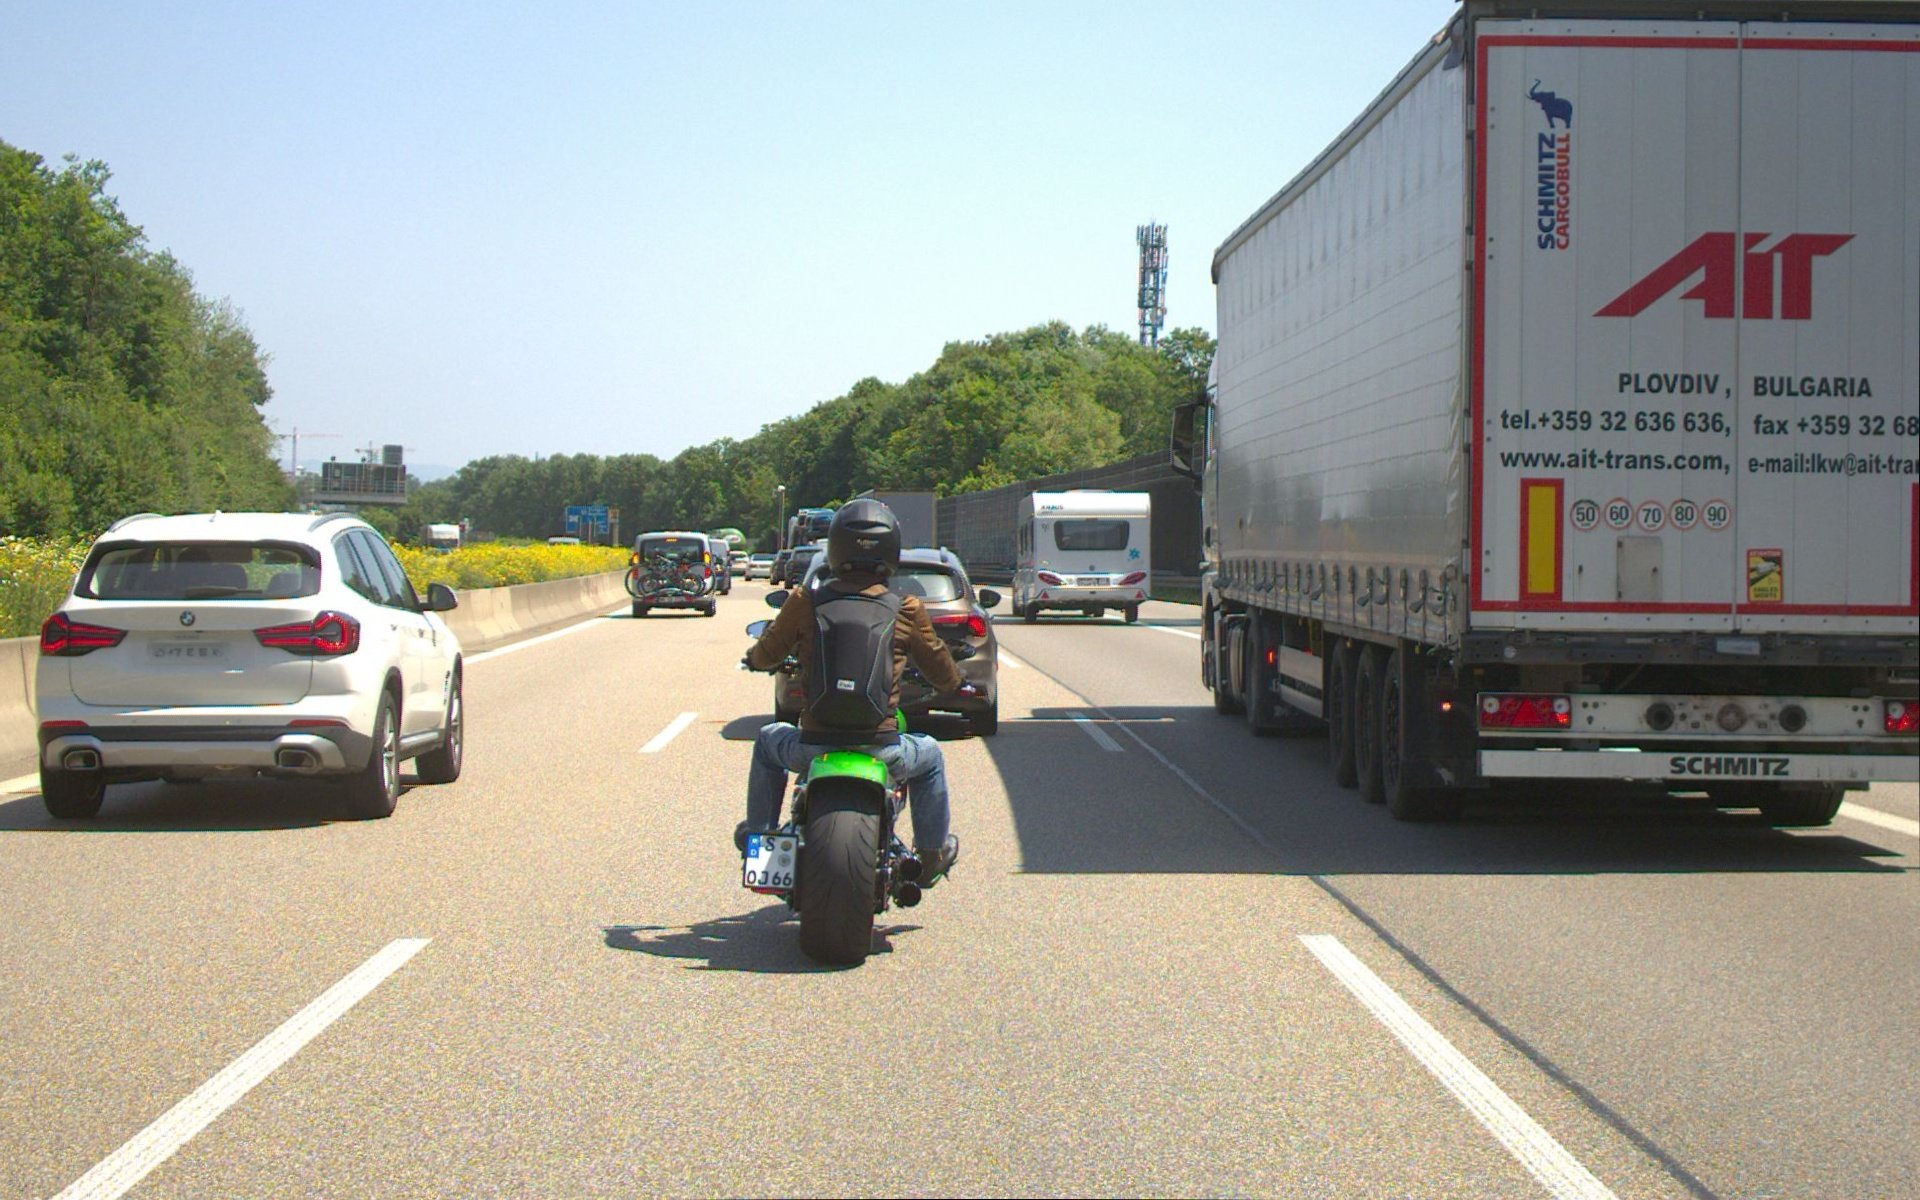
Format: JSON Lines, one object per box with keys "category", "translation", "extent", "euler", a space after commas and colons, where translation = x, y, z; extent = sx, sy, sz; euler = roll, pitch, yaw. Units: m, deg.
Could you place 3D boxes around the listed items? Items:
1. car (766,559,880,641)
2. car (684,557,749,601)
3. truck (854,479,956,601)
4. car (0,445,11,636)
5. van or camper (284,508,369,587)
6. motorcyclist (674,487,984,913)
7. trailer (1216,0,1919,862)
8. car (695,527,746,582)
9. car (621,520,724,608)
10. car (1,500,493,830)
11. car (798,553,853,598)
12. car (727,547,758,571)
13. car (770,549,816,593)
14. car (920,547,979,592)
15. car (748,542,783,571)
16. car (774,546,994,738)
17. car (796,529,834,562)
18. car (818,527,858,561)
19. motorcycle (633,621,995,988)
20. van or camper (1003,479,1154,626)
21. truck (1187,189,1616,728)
{"category": "car", "translation": [-2.442, 0.010, 62.042], "extent": [1.993, 1.425, 3.847], "euler": [0, 0, -1]}
{"category": "car", "translation": [-7.791, -0.659, 110.242], "extent": [1.993, 1.382, 4.000], "euler": [0, 0, -3]}
{"category": "truck", "translation": [-2.379, -2.449, 144.421], "extent": [3.802, 4.943, 8.952], "euler": [0, 0, -4]}
{"category": "car", "translation": [-15.474, -0.851, 48.838], "extent": [2.068, 2.886, 7.463], "euler": [0, 1, -1]}
{"category": "van or camper", "translation": [-22.323, -1.863, 121.342], "extent": [2.085, 2.692, 6.153], "euler": [0, 1, -2]}
{"category": "motorcyclist", "translation": [-0.450, 0.346, 12.848], "extent": [0.900, 1.470, 1.871], "euler": [0, 0, 6]}
{"category": "trailer", "translation": [3.612, -0.935, 22.476], "extent": [2.886, 4.025, 13.795], "euler": [0, 1, 0]}
{"category": "car", "translation": [-8.998, -1.684, 129.420], "extent": [1.791, 2.007, 3.642], "euler": [0, 0, -2]}
{"category": "car", "translation": [-6.224, -0.754, 74.732], "extent": [1.899, 1.867, 4.412], "euler": [0, 0, 0]}
{"category": "car", "translation": [-4.007, 0.302, 20.173], "extent": [1.864, 1.688, 4.956], "euler": [0, 1, 0]}
{"category": "car", "translation": [-5.119, -0.922, 130.560], "extent": [1.993, 1.634, 4.000], "euler": [0, 0, -4]}
{"category": "car", "translation": [-13.938, -2.616, 220.095], "extent": [1.832, 1.491, 3.744], "euler": [0, 0, -5]}
{"category": "car", "translation": [-7.829, -1.341, 161.174], "extent": [1.911, 2.007, 3.691], "euler": [0, 0, -6]}
{"category": "car", "translation": [-0.405, -1.098, 125.134], "extent": [1.993, 1.568, 4.000], "euler": [0, 0, -2]}
{"category": "car", "translation": [-10.452, -2.309, 184.344], "extent": [1.832, 1.491, 3.744], "euler": [0, 0, -3]}
{"category": "car", "translation": [-0.588, 0.326, 28.019], "extent": [1.662, 1.448, 3.869], "euler": [0, 0, 0]}
{"category": "car", "translation": [-8.453, -3.149, 199.561], "extent": [2.107, 1.870, 4.000], "euler": [0, 0, -4]}
{"category": "car", "translation": [-6.880, -3.155, 194.037], "extent": [2.107, 1.870, 4.000], "euler": [0, 0, -4]}
{"category": "motorcycle", "translation": [-0.476, 0.692, 12.911], "extent": [0.965, 1.144, 2.811], "euler": [1, 1, 6]}
{"category": "van or camper", "translation": [2.313, -0.900, 69.276], "extent": [2.685, 2.803, 6.803], "euler": [0, 0, -1]}
{"category": "truck", "translation": [3.595, -1.132, 29.458], "extent": [2.885, 4.132, 5.986], "euler": [0, 1, 0]}
